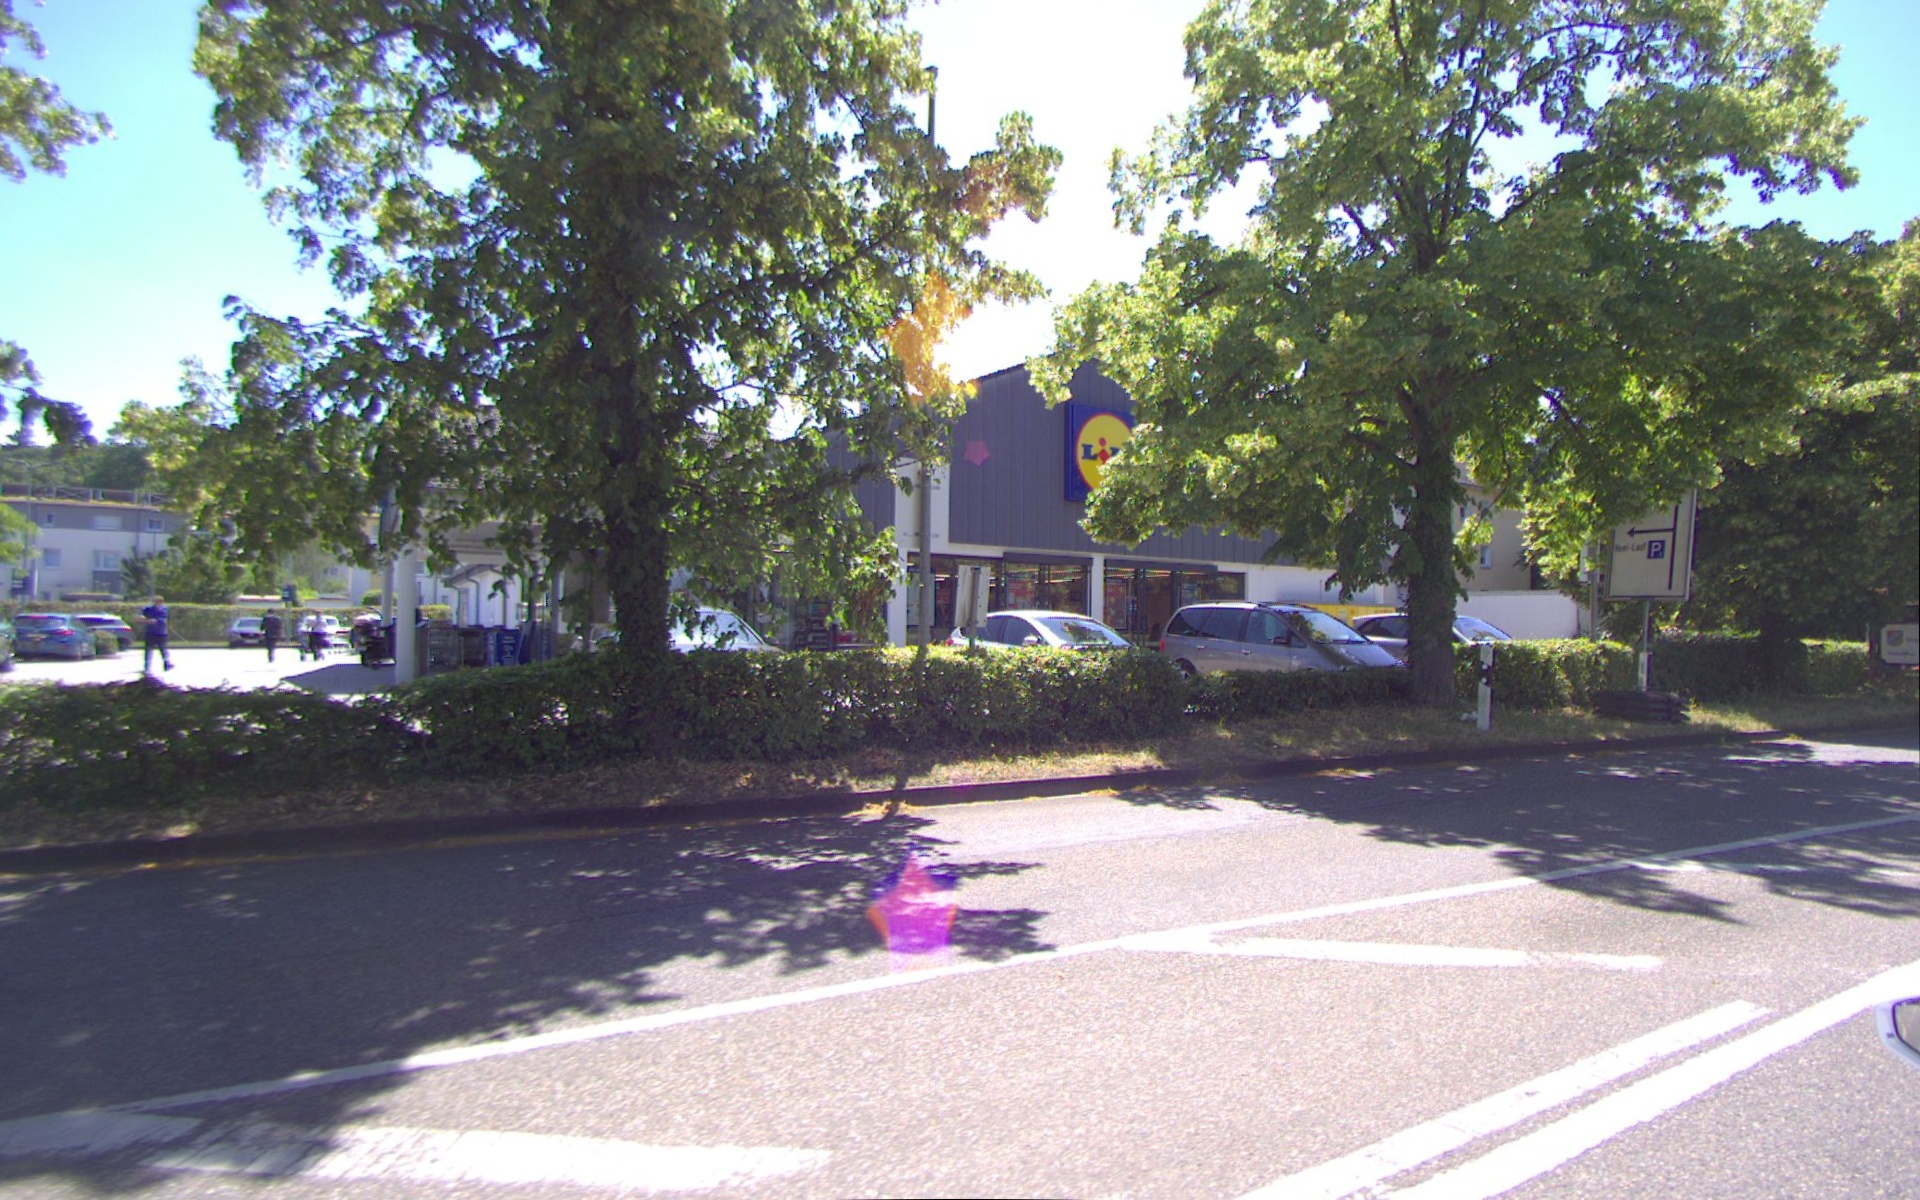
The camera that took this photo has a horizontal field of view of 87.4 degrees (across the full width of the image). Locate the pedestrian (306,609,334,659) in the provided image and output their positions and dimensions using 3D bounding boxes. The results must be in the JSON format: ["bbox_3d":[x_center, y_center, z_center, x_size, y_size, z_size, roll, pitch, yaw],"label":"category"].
[{"bbox_3d":[-20.136,1.065,31.613,0.670,1.534,0.628,2,-1,-36],"label":"pedestrian"}]

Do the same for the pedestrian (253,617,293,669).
[{"bbox_3d":[-20.709,1.294,30.290,0.787,1.534,0.795,1,-1,41],"label":"pedestrian"}]

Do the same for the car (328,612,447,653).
[{"bbox_3d":[-23.143,1.326,40.709,4.090,1.552,1.810,3,-1,-31],"label":"car"}]

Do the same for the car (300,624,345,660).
[{"bbox_3d":[-31.737,2.075,50.108,1.779,1.623,3.965,2,-1,-32],"label":"car"}]

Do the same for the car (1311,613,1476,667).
[{"bbox_3d":[15.137,1.363,35.351,2.214,1.592,4.961,2,1,-31],"label":"car"}]

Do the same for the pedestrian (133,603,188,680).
[{"bbox_3d":[-19.613,1.000,24.642,0.739,1.830,0.771,2,0,29],"label":"pedestrian"}]

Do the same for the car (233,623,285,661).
[{"bbox_3d":[-33.731,2.009,48.410,1.779,1.623,3.965,2,-1,-32],"label":"car"}]

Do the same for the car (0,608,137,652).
[{"bbox_3d":[-35.812,1.204,40.356,3.956,1.623,1.783,2,-1,-32],"label":"car"}]

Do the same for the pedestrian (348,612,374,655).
[{"bbox_3d":[-23.022,1.291,38.622,0.623,1.601,0.674,2,-1,-15],"label":"pedestrian"}]

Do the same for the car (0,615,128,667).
[{"bbox_3d":[-30.441,1.368,33.419,3.955,1.622,1.784,2,-1,-32],"label":"car"}]

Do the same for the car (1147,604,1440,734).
[{"bbox_3d":[5.419,1.036,16.912,2.049,1.800,4.377,2,0,-31],"label":"car"}]

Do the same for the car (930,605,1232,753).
[{"bbox_3d":[1.494,0.955,14.097,1.874,1.641,4.377,2,0,-31],"label":"car"}]

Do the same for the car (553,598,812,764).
[{"bbox_3d":[-3.439,0.804,11.883,1.912,1.545,4.007,2,0,-31],"label":"car"}]

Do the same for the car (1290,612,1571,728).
[{"bbox_3d":[8.691,1.213,18.951,2.049,1.800,4.377,2,0,-31],"label":"car"}]

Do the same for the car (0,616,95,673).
[{"bbox_3d":[-28.700,1.301,30.071,3.955,1.622,1.784,2,-1,-32],"label":"car"}]

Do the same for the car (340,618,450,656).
[{"bbox_3d":[-24.831,1.624,44.216,4.090,1.552,1.810,3,-1,-31],"label":"car"}]
